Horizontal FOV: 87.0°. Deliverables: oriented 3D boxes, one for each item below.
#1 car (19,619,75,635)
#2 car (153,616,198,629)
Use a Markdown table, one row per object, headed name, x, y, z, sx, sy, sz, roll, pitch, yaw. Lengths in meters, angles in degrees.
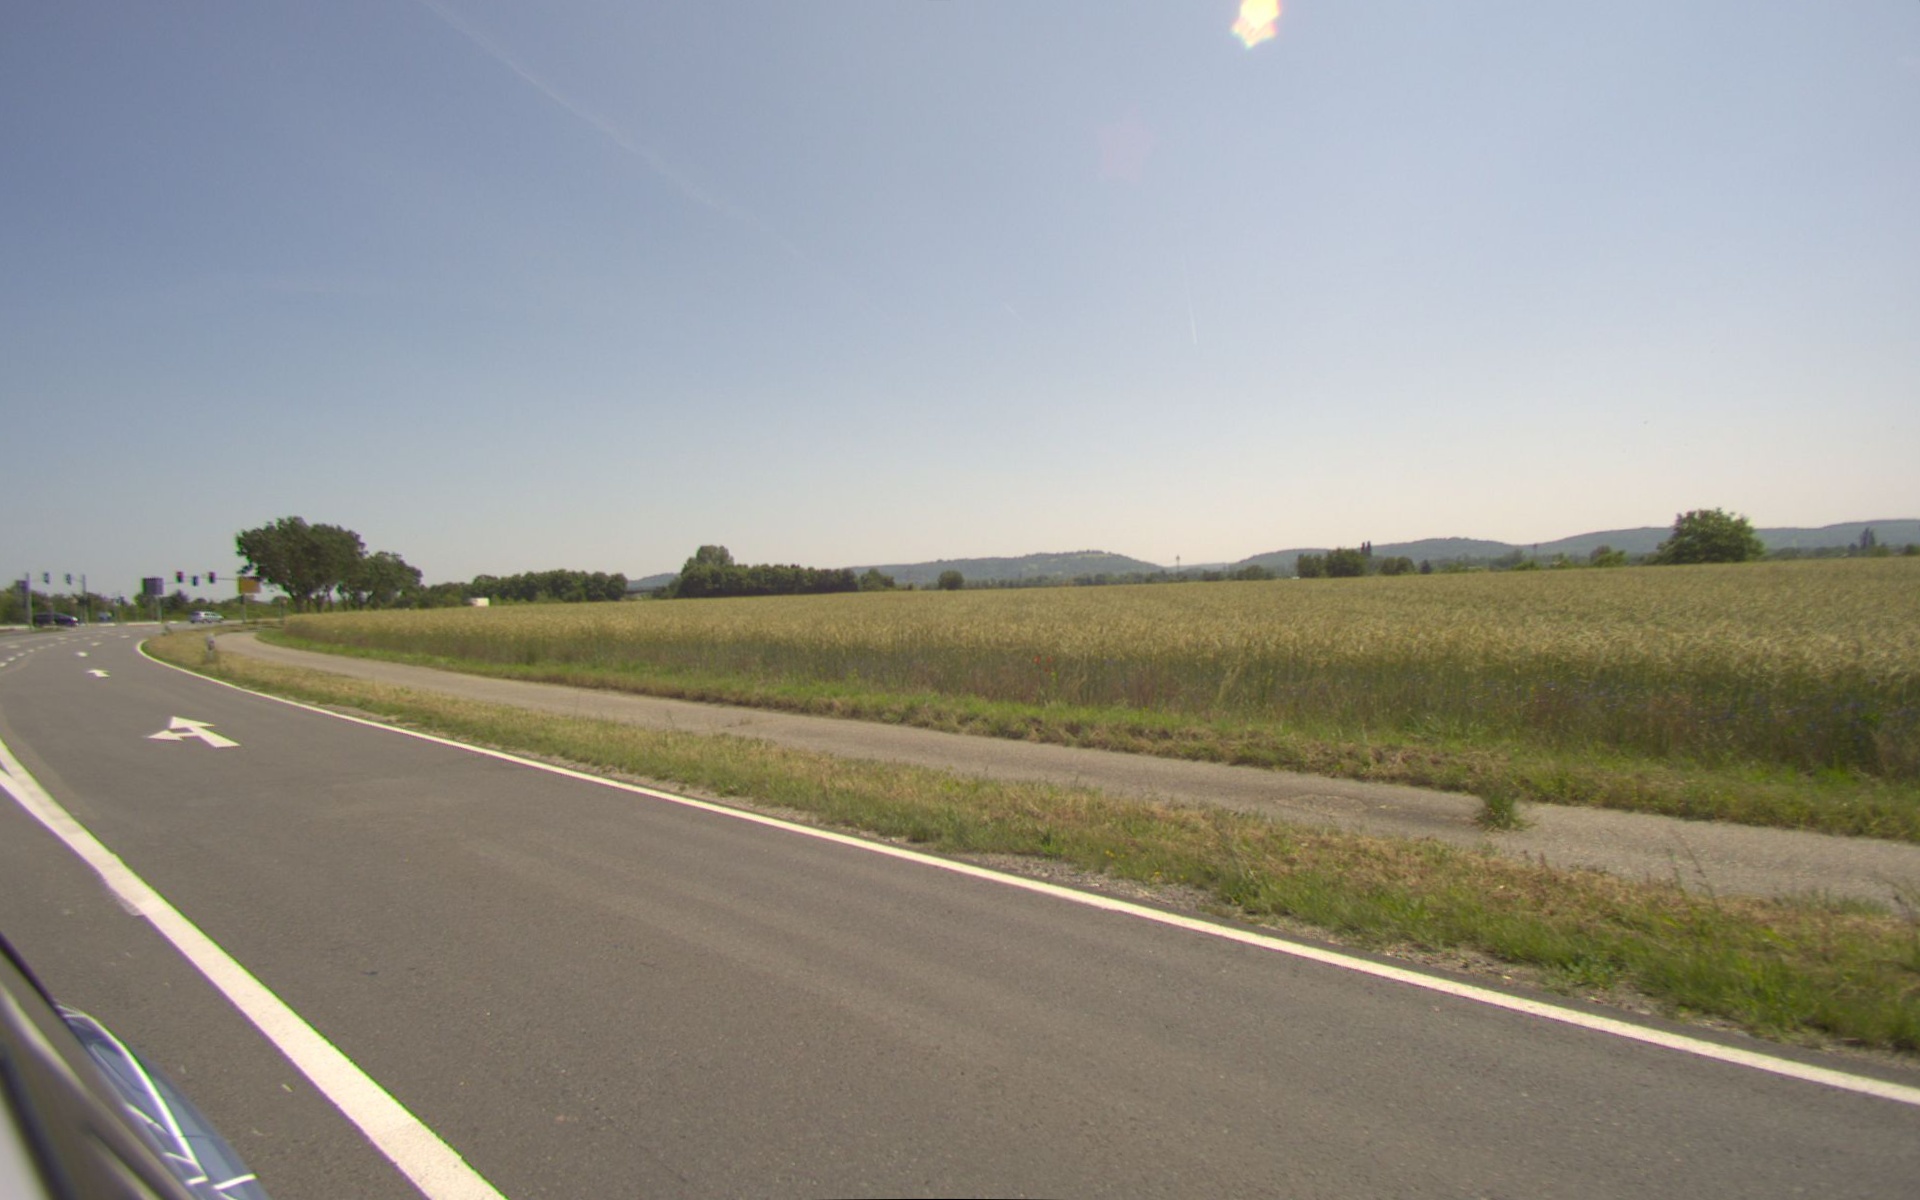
| name | x | y | z | sx | sy | sz | roll | pitch | yaw |
| --- | --- | --- | --- | --- | --- | --- | --- | --- | --- |
| car | -104.915 | 3.070 | 116.321 | 4.449 | 1.653 | 1.820 | -1 | 1 | -27 |
| car | -98.265 | 2.774 | 126.757 | 1.653 | 1.471 | 4.113 | -1 | 1 | 28 |
